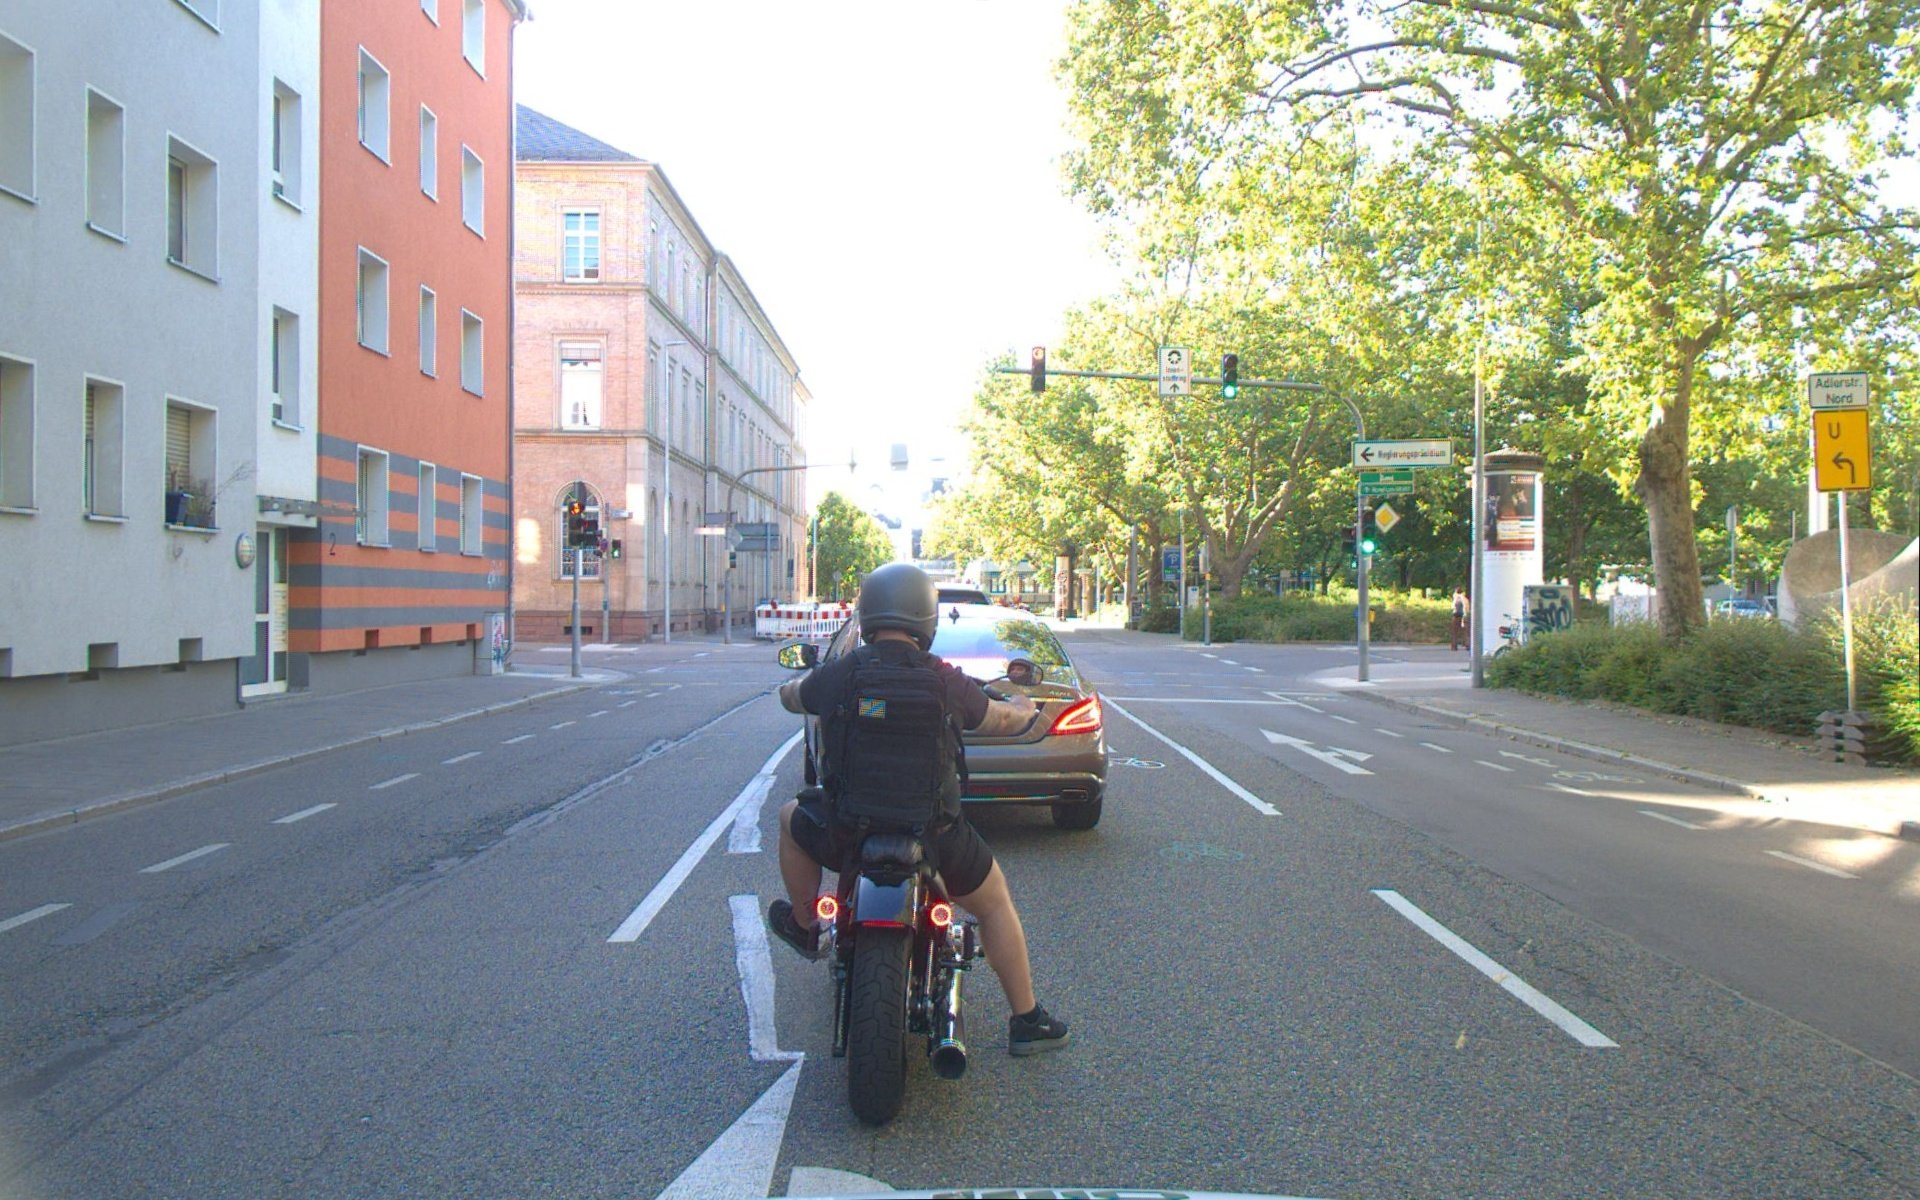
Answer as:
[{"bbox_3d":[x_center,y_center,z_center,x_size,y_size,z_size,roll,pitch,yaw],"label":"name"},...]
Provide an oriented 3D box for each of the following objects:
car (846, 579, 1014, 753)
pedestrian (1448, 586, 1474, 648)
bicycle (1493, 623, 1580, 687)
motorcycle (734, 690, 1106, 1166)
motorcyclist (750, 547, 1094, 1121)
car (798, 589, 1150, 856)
[{"bbox_3d":[-0.339,0.615,17.750,1.580,1.636,4.327,0,0,-2],"label":"car"},{"bbox_3d":[13.779,0.453,45.508,0.616,1.695,0.684,0,0,9],"label":"pedestrian"},{"bbox_3d":[9.658,0.919,27.730,1.324,1.041,0.363,0,0,0],"label":"bicycle"},{"bbox_3d":[-0.121,0.923,5.547,0.969,1.097,2.451,0,0,-1],"label":"motorcycle"},{"bbox_3d":[-0.117,0.660,5.393,0.969,1.625,1.403,0,0,-1],"label":"motorcyclist"},{"bbox_3d":[-0.117,0.681,11.587,1.909,1.498,4.355,0,0,-7],"label":"car"}]
